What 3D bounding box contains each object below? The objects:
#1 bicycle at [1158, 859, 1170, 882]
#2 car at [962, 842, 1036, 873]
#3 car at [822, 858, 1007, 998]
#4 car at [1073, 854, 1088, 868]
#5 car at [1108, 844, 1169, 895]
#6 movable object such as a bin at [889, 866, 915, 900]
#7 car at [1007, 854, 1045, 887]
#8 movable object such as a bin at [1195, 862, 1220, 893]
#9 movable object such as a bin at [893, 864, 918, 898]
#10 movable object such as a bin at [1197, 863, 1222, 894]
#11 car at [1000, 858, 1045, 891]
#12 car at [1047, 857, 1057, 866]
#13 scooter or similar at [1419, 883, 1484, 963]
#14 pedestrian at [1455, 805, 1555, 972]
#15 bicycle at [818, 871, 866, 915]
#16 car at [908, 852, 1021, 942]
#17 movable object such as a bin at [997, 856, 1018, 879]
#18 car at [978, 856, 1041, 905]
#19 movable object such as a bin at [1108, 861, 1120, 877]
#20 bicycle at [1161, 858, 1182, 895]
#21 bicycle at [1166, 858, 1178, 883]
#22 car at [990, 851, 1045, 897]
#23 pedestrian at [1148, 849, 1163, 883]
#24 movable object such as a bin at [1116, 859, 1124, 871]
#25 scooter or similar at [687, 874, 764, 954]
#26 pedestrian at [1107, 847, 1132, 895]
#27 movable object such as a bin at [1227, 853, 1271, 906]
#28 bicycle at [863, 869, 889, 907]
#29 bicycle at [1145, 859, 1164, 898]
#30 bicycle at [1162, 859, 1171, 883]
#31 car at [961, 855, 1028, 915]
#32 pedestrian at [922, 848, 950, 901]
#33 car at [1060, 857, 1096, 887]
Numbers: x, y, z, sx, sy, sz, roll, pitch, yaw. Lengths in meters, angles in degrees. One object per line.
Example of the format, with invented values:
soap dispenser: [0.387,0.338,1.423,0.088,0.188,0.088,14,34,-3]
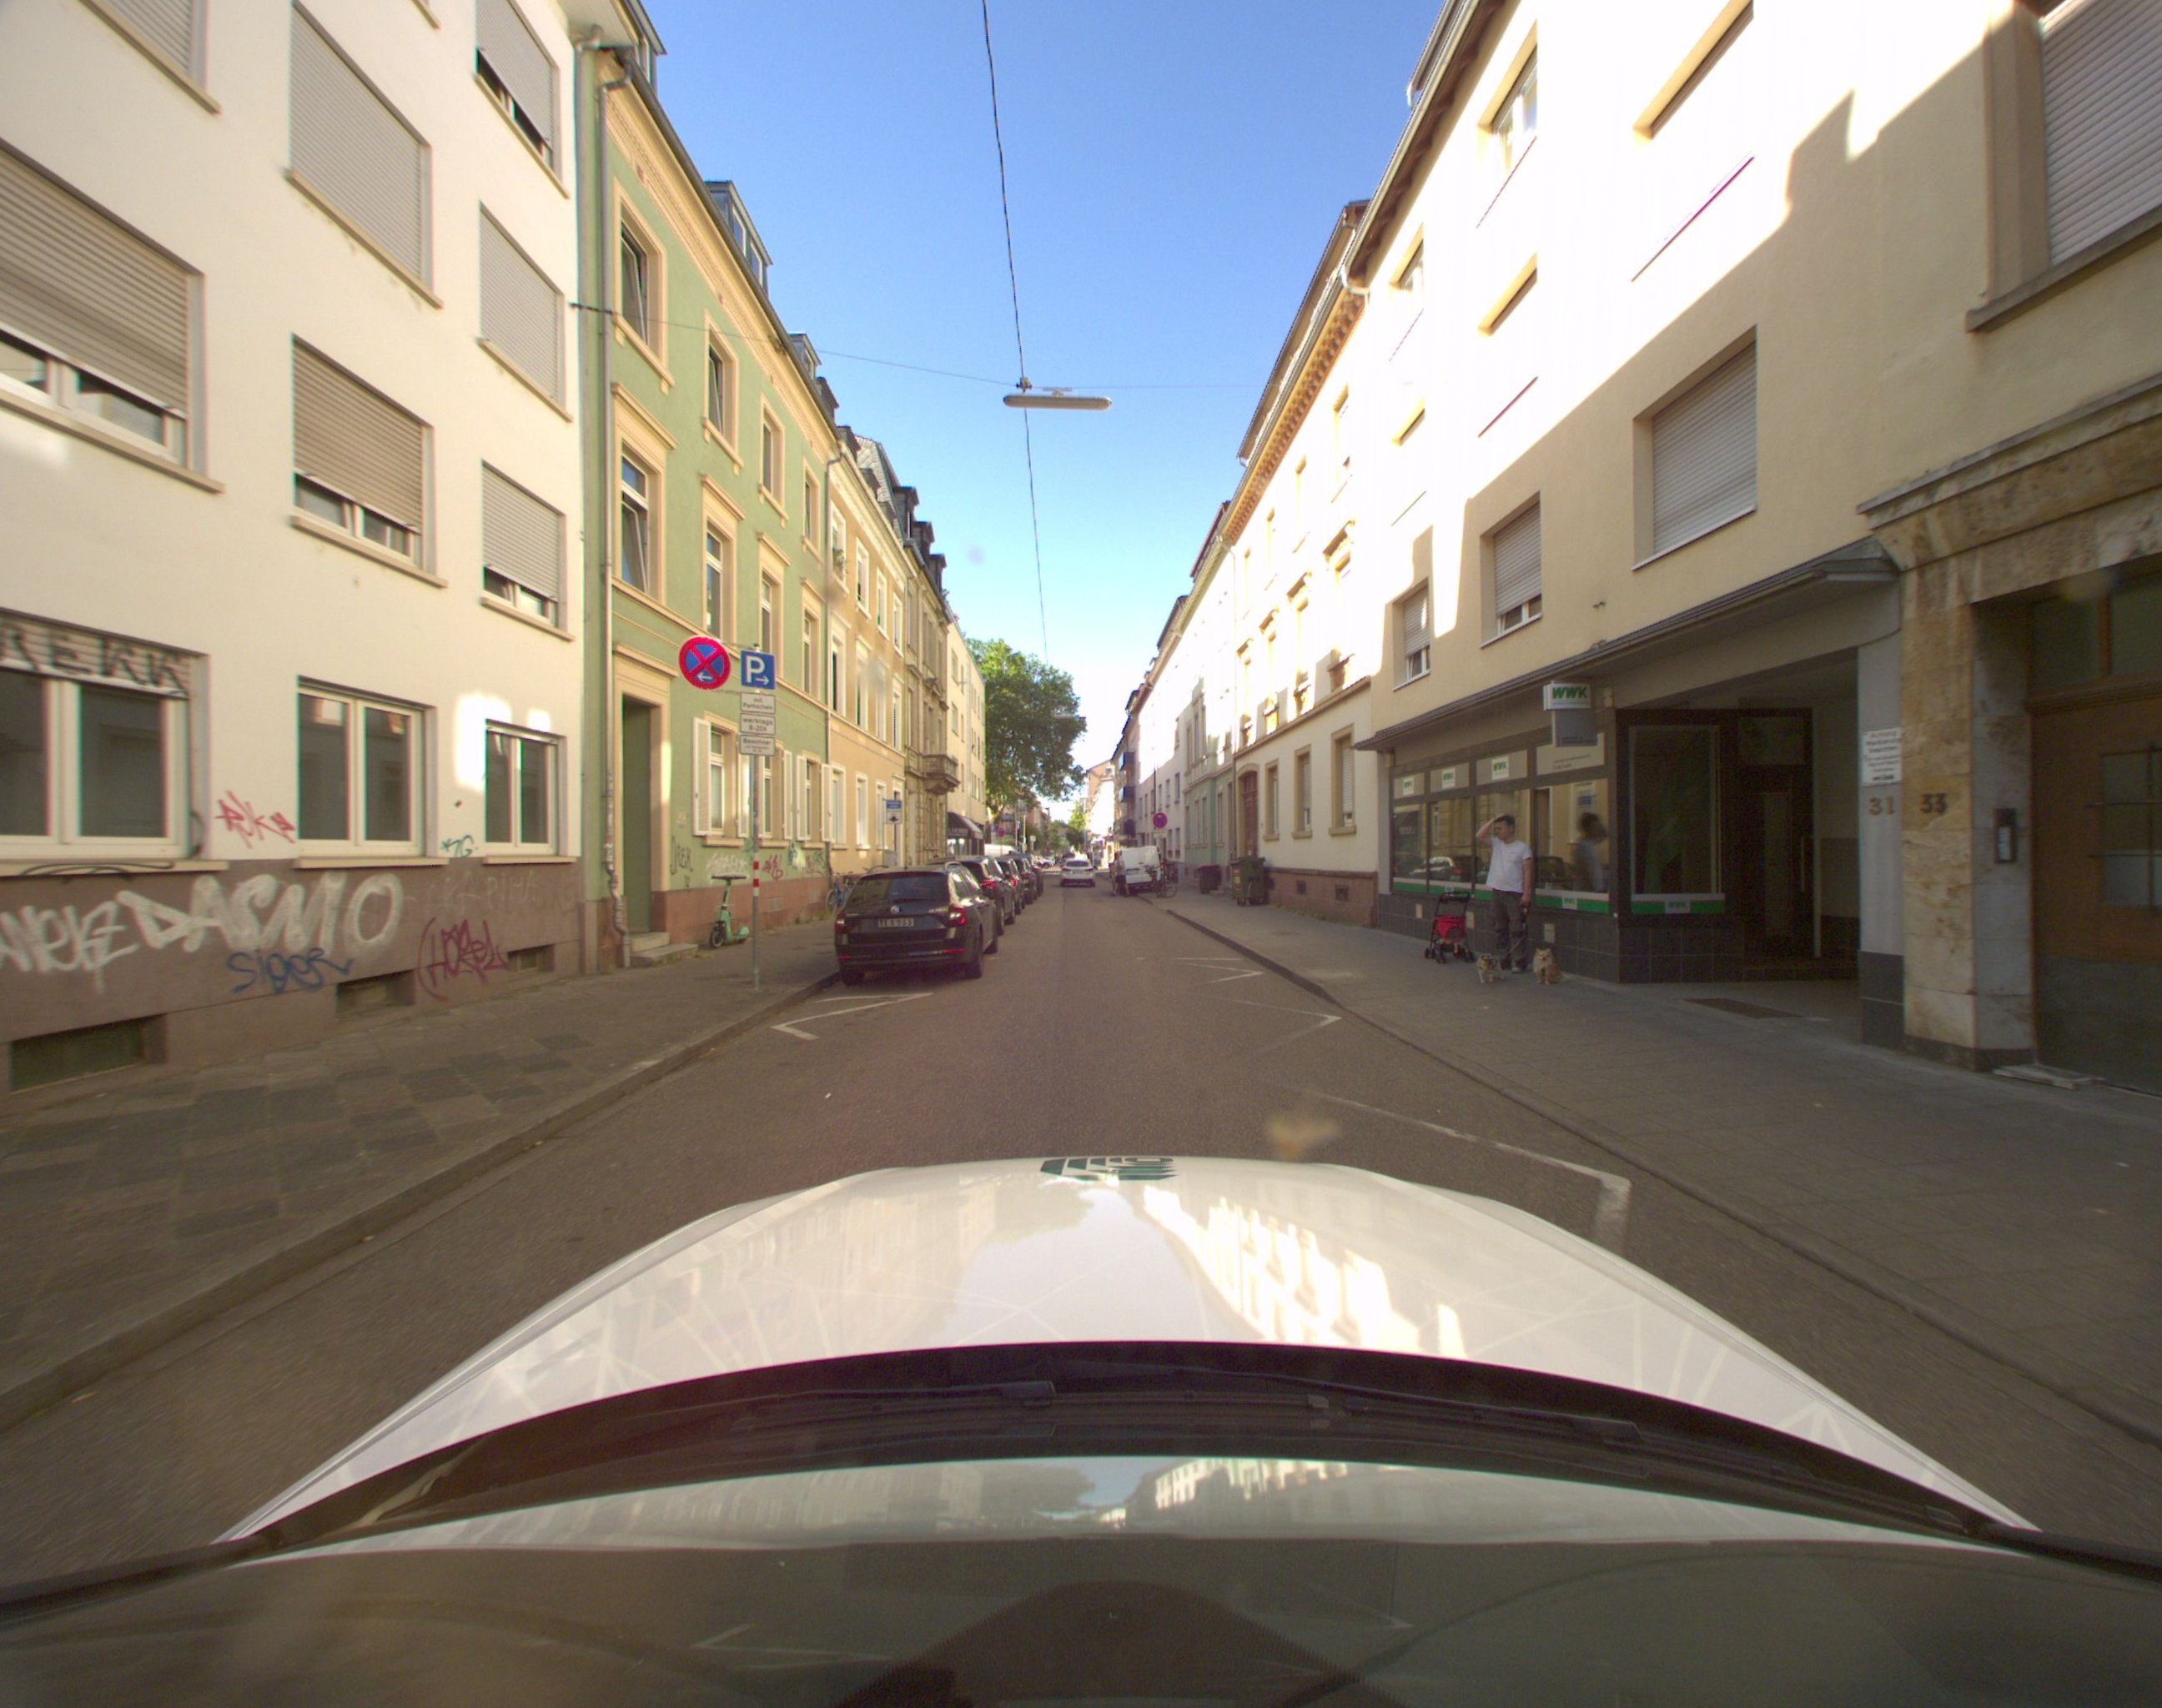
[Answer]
bicycle: [4.392,0.874,43.255,0.566,1.153,1.870,-1,-1,4]
car: [-7.771,0.348,77.497,6.717,2.555,2.145,3,-1,0]
car: [-2.106,0.852,11.654,1.709,1.488,4.848,-3,0,-2]
car: [-0.033,0.946,117.695,1.938,1.948,4.073,1,0,-4]
car: [2.375,0.604,35.059,1.978,1.883,5.596,-4,0,-1]
movable object such as a bin: [-5.895,0.940,26.878,0.734,1.089,0.682,0,1,-5]
car: [-2.952,0.869,44.746,1.777,1.667,4.668,-2,0,-1]
movable object such as a bin: [4.644,0.860,30.010,0.809,1.088,0.674,-1,-1,1]
movable object such as a bin: [-5.923,0.918,27.498,0.718,1.132,0.584,0,-1,-5]
movable object such as a bin: [4.632,0.870,29.338,0.794,1.096,0.642,-1,-1,1]
car: [-2.771,0.977,39.369,1.840,1.417,4.815,-2,-1,-1]
car: [-5.217,1.395,146.535,1.568,1.585,3.609,-1,-1,-1]
scooter or similar: [4.788,0.879,10.560,0.488,0.944,0.869,-2,1,5]
pedestrian: [4.991,0.384,9.605,0.651,1.860,0.743,-3,0,-23]
bicycle: [-5.904,0.937,20.199,0.359,1.028,1.922,-1,-1,8]
car: [-2.348,0.793,17.506,1.739,1.615,4.602,-2,0,0]
movable object such as a bin: [-4.951,0.895,54.927,1.293,1.498,1.178,0,-1,-2]
car: [-2.383,0.845,28.066,1.708,1.531,4.366,-1,0,0]
movable object such as a bin: [2.216,1.014,54.996,0.730,1.081,0.703,-1,-1,0]
bicycle: [3.262,0.789,29.444,0.572,1.271,2.201,-2,0,3]
bicycle: [4.567,0.828,40.836,0.403,1.206,2.160,-1,-1,2]
car: [-2.522,0.771,33.581,1.930,1.736,5.139,-1,0,-1]
pedestrian: [3.857,0.627,42.207,0.650,1.711,0.688,-1,-1,11]
movable object such as a bin: [3.642,1.039,75.218,0.699,1.073,0.596,-1,-1,0]
scooter or similar: [-5.729,0.930,13.211,0.452,1.181,1.691,-1,-1,2]
pedestrian: [1.490,0.661,31.485,0.864,1.836,0.882,0,-1,-3]
movable object such as a bin: [4.682,0.709,22.748,0.835,1.389,1.296,-3,-2,-2]
bicycle: [-5.904,0.969,23.548,0.401,1.056,1.834,0,-1,-4]
bicycle: [2.618,0.845,29.102,0.572,1.320,2.200,-1,0,3]
bicycle: [4.423,0.848,42.167,0.435,1.206,2.269,-1,-1,6]
car: [-2.401,0.821,23.299,1.611,1.554,3.974,-1,0,-2]
pedestrian: [-4.828,0.678,27.201,0.762,1.714,0.882,1,0,-2]
car: [-0.202,0.901,42.888,1.819,1.514,3.821,0,0,-2]
